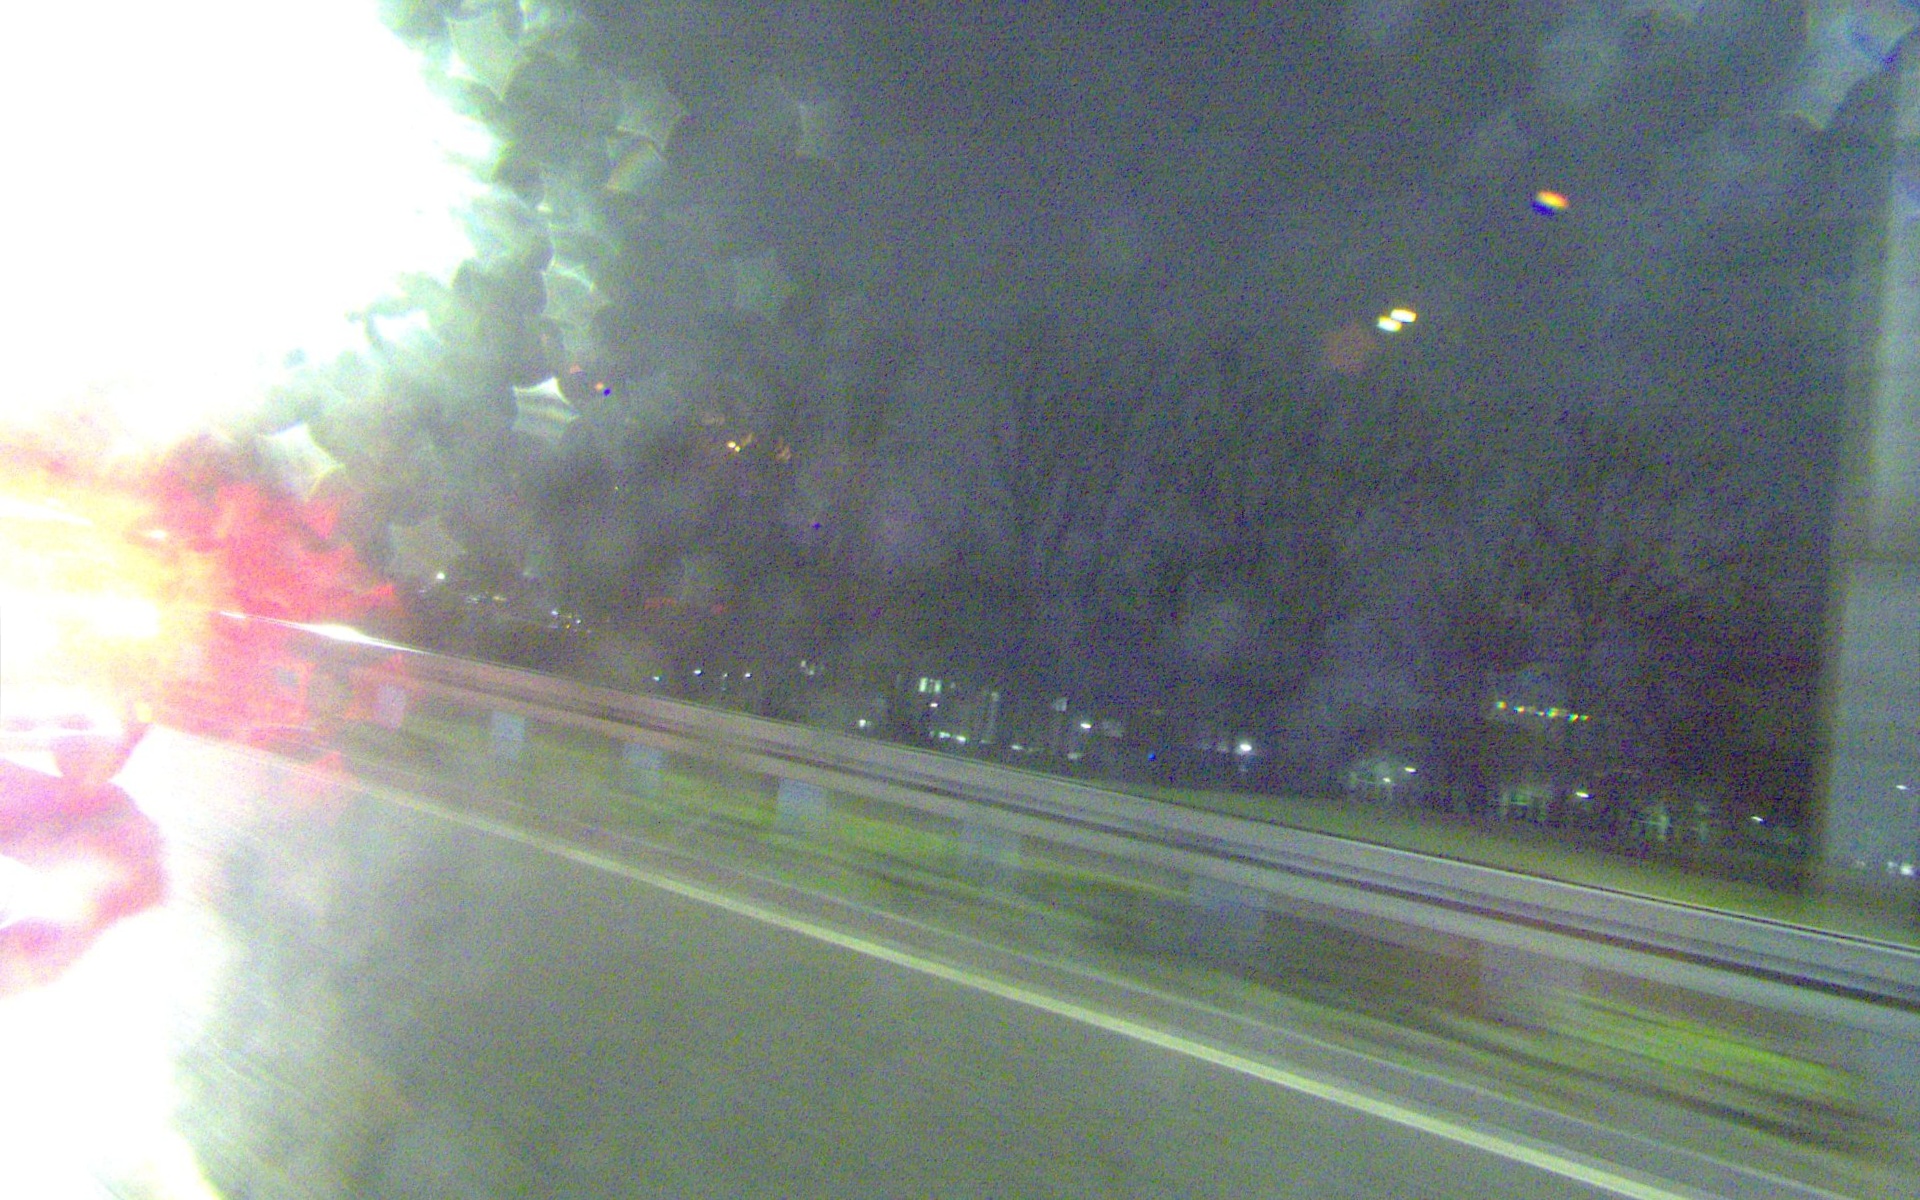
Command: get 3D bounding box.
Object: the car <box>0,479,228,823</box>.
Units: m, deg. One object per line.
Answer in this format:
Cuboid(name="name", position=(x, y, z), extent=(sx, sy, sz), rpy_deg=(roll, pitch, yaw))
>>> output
Cuboid(name="car", position=(-6.225, 0.056, 5.541), extent=(3.930, 1.605, 1.860), rpy_deg=(6, -1, 27))
